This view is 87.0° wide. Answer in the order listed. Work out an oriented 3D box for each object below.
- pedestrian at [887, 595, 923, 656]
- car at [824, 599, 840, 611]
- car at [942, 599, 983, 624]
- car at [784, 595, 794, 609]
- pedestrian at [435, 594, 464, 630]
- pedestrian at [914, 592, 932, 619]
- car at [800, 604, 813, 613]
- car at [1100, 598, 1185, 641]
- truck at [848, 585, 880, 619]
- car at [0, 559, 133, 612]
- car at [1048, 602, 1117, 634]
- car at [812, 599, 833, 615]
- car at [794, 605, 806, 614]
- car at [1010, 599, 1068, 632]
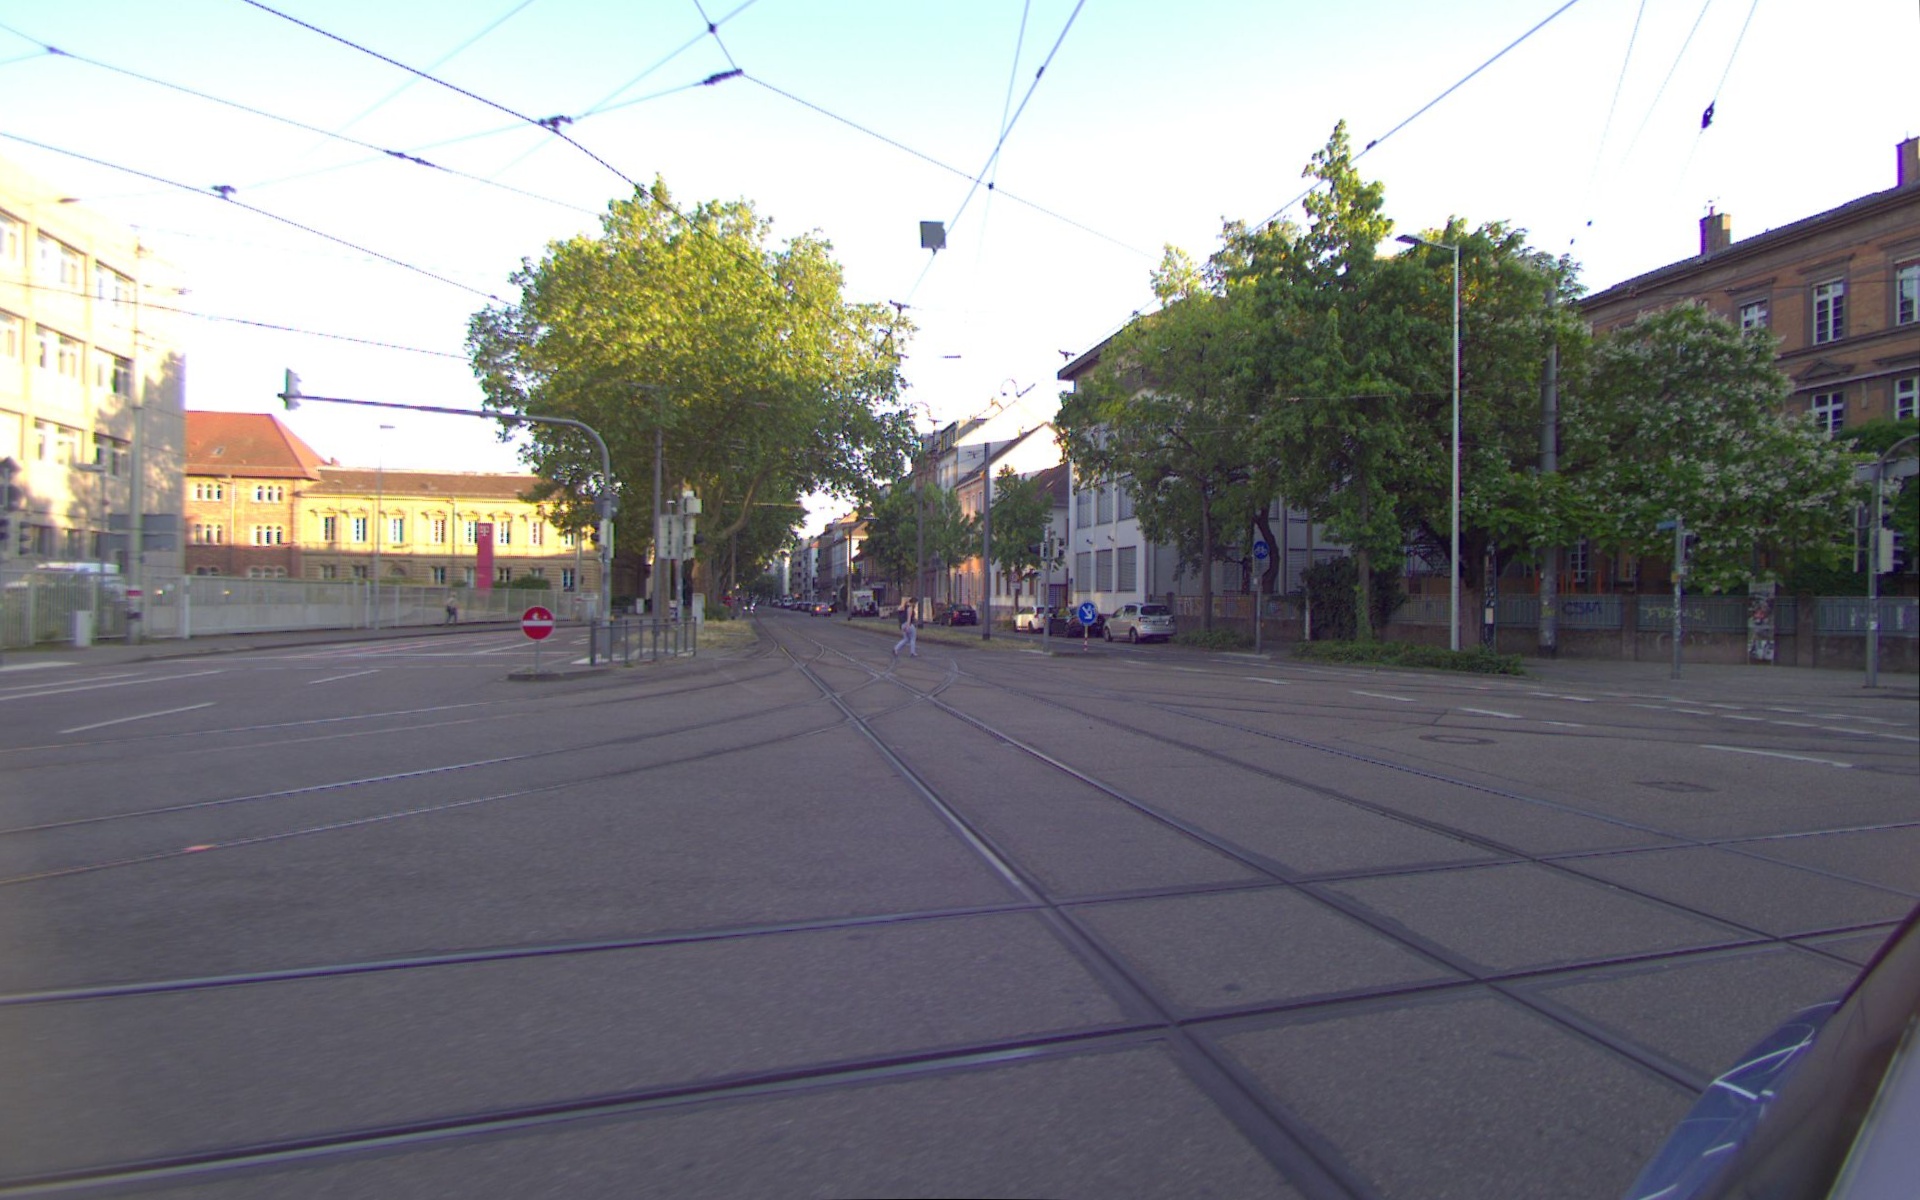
[{"bbox_3d":[-1.481,0.680,27.303,0.812,1.637,0.757,0,-1,-17],"label":"pedestrian"},{"bbox_3d":[-18.154,0.726,143.657,1.958,1.667,4.007,0,0,-12],"label":"car"},{"bbox_3d":[0.123,0.742,68.547,1.875,1.571,4.007,-1,0,-13],"label":"car"},{"bbox_3d":[-39.502,0.432,233.775,1.958,3.233,5.273,0,0,-12],"label":"car"},{"bbox_3d":[-24.887,0.582,49.341,1.055,1.700,0.874,0,-1,35],"label":"pedestrian"},{"bbox_3d":[-2.794,0.419,76.729,1.144,2.039,0.887,0,-1,23],"label":"pedestrian"},{"bbox_3d":[-26.855,1.493,176.793,1.958,1.667,4.007,0,0,-12],"label":"car"},{"bbox_3d":[7.190,0.732,40.201,1.875,1.571,4.007,-1,0,-13],"label":"car"},{"bbox_3d":[-10.635,0.199,111.054,3.139,3.499,8.877,0,0,-8],"label":"truck"},{"bbox_3d":[-34.547,-0.526,38.877,2.227,1.897,5.104,0,0,-12],"label":"car"},{"bbox_3d":[5.559,0.786,46.562,1.875,1.382,4.007,-1,0,-13],"label":"car"},{"bbox_3d":[-14.675,0.777,107.798,1.958,1.667,4.007,0,0,-12],"label":"car"},{"bbox_3d":[-30.490,1.715,192.443,1.958,1.667,4.007,0,0,-12],"label":"car"},{"bbox_3d":[4.046,0.761,52.541,1.875,1.571,4.007,-1,0,-13],"label":"car"}]
